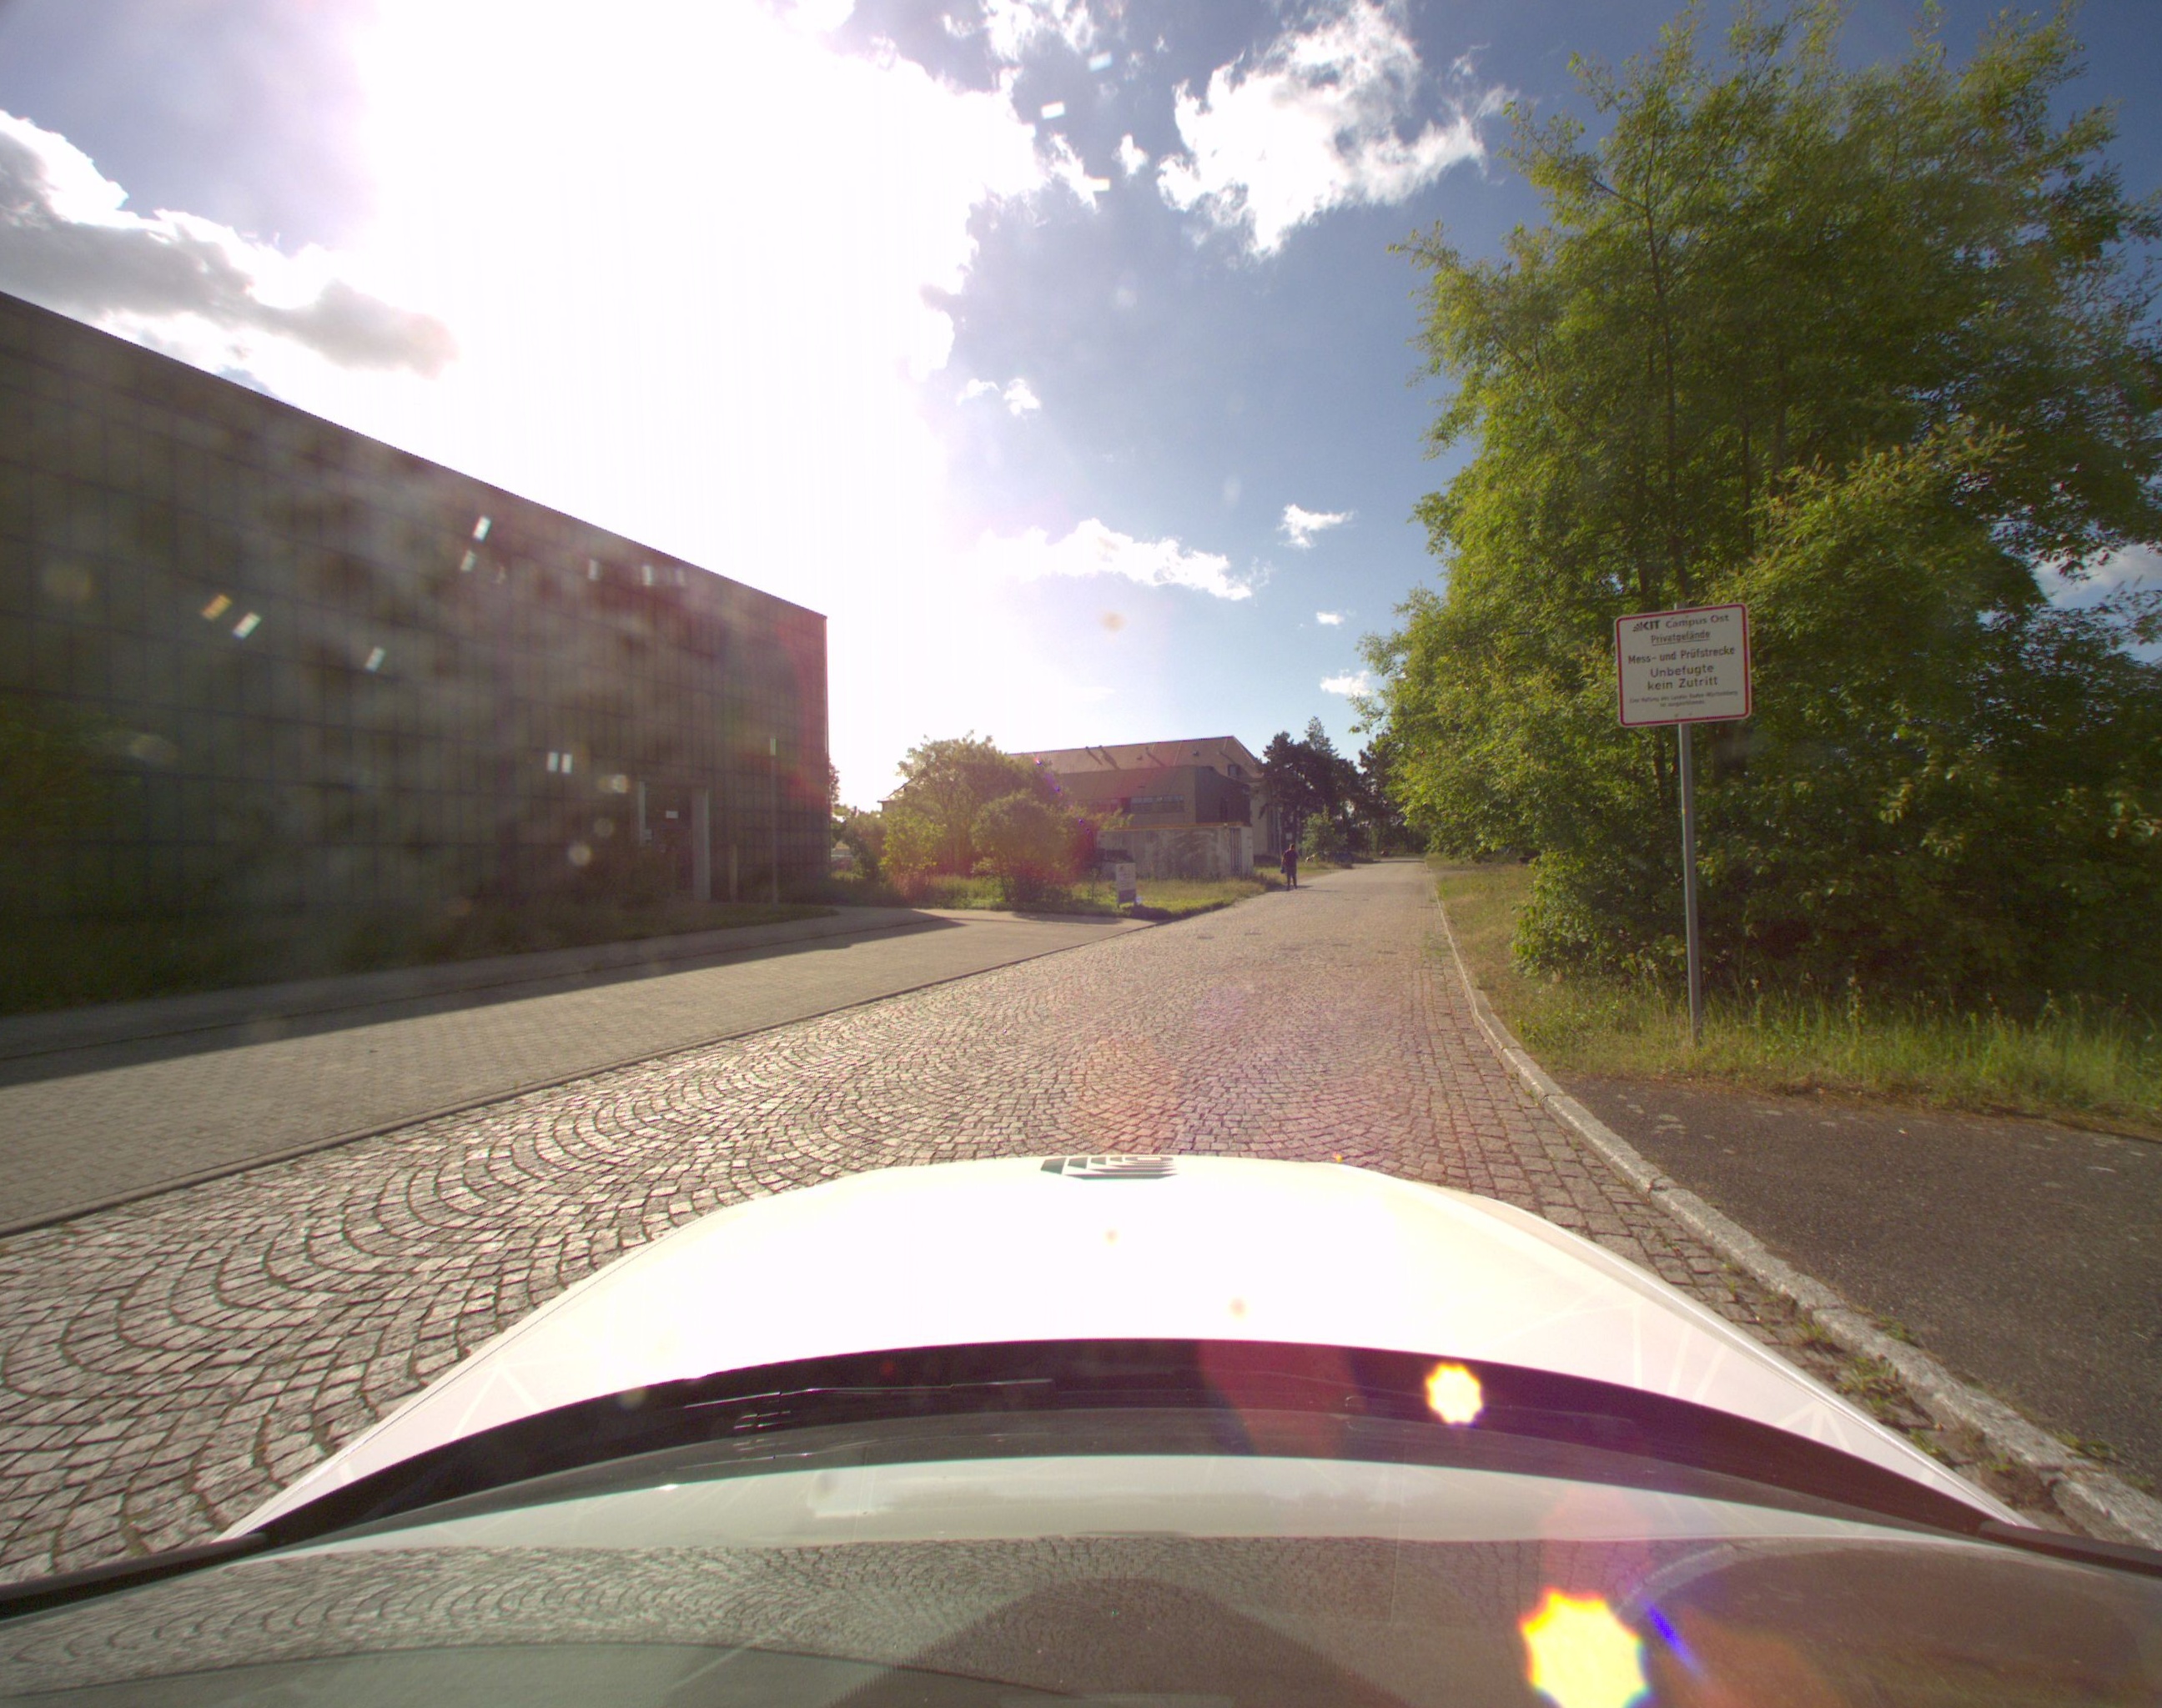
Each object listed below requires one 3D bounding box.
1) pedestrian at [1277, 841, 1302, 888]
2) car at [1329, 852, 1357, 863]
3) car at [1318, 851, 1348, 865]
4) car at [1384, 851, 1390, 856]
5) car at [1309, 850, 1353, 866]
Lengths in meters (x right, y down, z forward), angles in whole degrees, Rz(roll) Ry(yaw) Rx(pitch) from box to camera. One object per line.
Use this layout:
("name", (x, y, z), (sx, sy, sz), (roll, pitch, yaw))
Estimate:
("pedestrian", (8.096, 0.390, 31.605), (0.788, 1.780, 1.074), (0, 0, 21))
("car", (29.298, 0.368, 91.184), (2.833, 1.206, 1.379), (-1, 0, 14))
("car", (25.521, 0.407, 82.509), (2.881, 1.259, 1.293), (-1, 0, 14))
("car", (71.137, -0.095, 189.191), (1.358, 1.099, 2.877), (-1, 0, 20))
("car", (23.196, 0.365, 75.599), (3.801, 1.441, 1.591), (-1, 0, 20))
